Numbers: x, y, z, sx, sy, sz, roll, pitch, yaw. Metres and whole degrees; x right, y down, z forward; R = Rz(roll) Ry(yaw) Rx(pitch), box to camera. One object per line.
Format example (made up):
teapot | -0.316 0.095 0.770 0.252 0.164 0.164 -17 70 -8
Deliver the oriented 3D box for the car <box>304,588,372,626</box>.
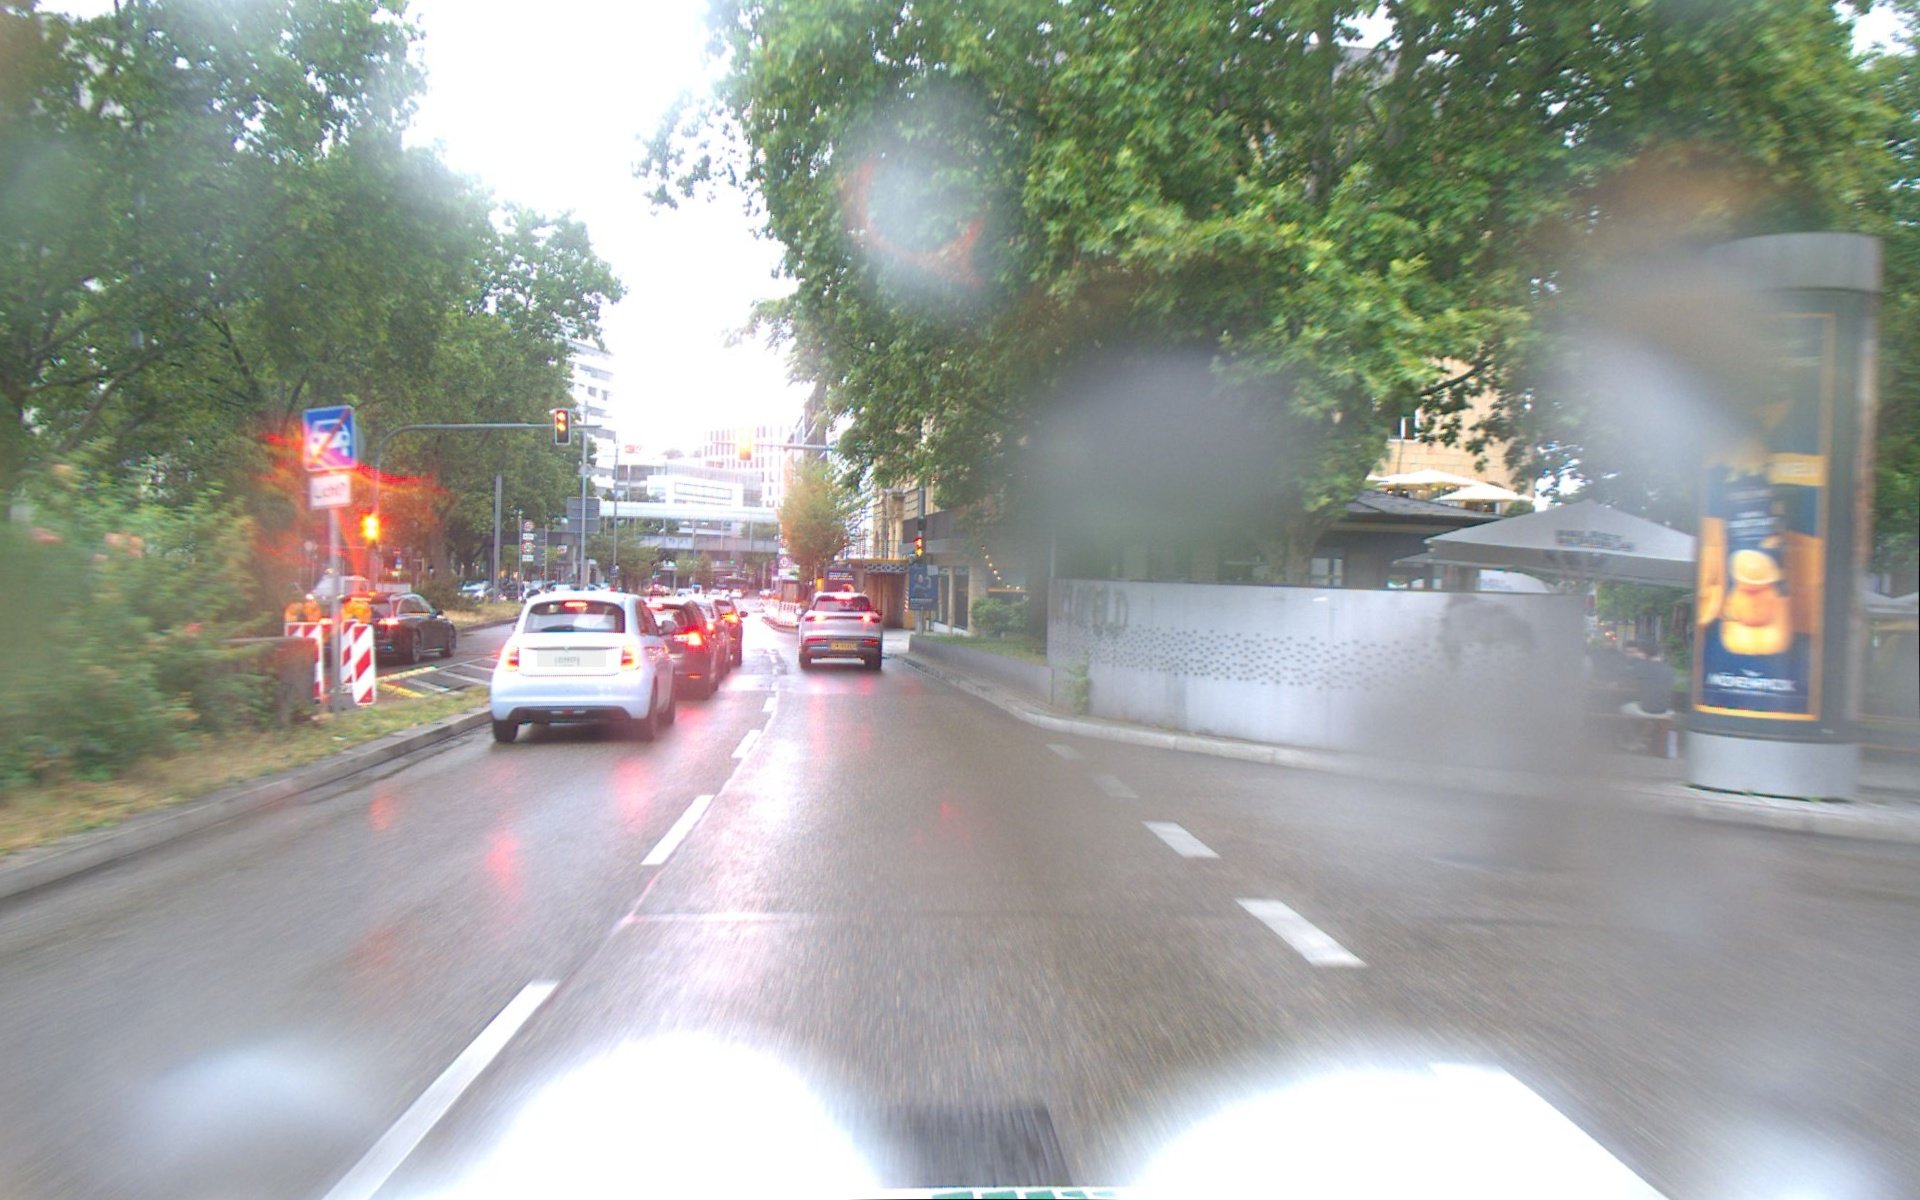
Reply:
car | -26.484 0.287 70.558 1.761 1.536 4.492 -1 0 -8

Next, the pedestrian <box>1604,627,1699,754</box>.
pedestrian | 8.286 1.066 19.845 0.671 1.434 0.905 4 -1 -1

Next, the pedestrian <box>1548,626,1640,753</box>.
pedestrian | 7.576 1.051 19.795 0.671 1.434 0.905 4 -1 -1

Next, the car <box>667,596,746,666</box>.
car | -5.735 0.659 37.670 1.659 1.488 4.337 -1 0 -8

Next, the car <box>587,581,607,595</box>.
car | -38.791 -1.286 176.617 1.761 1.537 4.337 -1 0 -8

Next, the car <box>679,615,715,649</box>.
car | -12.701 1.522 80.034 1.659 1.488 4.337 -1 0 -8

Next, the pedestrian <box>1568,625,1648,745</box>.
pedestrian | 8.162 1.059 20.857 0.671 1.434 0.660 4 -1 -1

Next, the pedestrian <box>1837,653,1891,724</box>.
pedestrian | 16.994 1.656 31.104 0.616 1.272 0.609 4 -1 -1

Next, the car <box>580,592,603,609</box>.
car | -35.007 0.011 157.371 1.761 1.536 4.492 -1 0 -8

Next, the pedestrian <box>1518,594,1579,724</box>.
pedestrian | 8.009 0.790 22.503 0.708 1.731 0.618 1 -1 26

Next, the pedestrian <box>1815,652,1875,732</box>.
pedestrian | 14.776 1.523 27.620 0.616 1.272 0.609 4 -1 -1

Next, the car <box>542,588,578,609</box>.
car | -28.941 -0.094 119.802 2.119 1.488 4.337 -1 0 -8

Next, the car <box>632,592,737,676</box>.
car | -5.190 0.592 31.605 1.658 1.488 4.340 -1 0 -5

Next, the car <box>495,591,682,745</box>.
car | -3.996 0.668 18.267 1.559 1.517 3.501 -1 0 -5

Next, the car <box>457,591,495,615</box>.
car | -32.007 0.156 109.487 1.761 1.536 4.492 -1 0 -8

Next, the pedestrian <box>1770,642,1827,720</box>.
pedestrian | 14.429 1.382 28.473 0.616 1.272 0.609 4 -1 -1

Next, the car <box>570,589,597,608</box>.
car | -31.279 -0.099 137.515 1.761 1.536 4.492 -1 0 -8

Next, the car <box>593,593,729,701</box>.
car | -4.461 0.649 25.149 1.658 1.488 4.125 -1 0 -5

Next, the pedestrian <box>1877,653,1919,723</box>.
pedestrian | 17.986 1.679 31.513 0.616 1.272 0.609 4 -1 -1

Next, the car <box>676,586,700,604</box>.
car | -23.272 -0.454 141.510 1.941 1.488 4.337 -1 0 -8

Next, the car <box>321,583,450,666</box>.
car | -12.221 0.476 35.443 1.666 1.648 3.996 1 0 -5

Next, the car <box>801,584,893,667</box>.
car | -2.608 0.553 37.404 1.909 1.695 4.340 2 0 -5

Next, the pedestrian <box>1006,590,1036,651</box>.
pedestrian | 1.823 0.613 49.496 0.841 1.811 0.717 1 -1 -3
